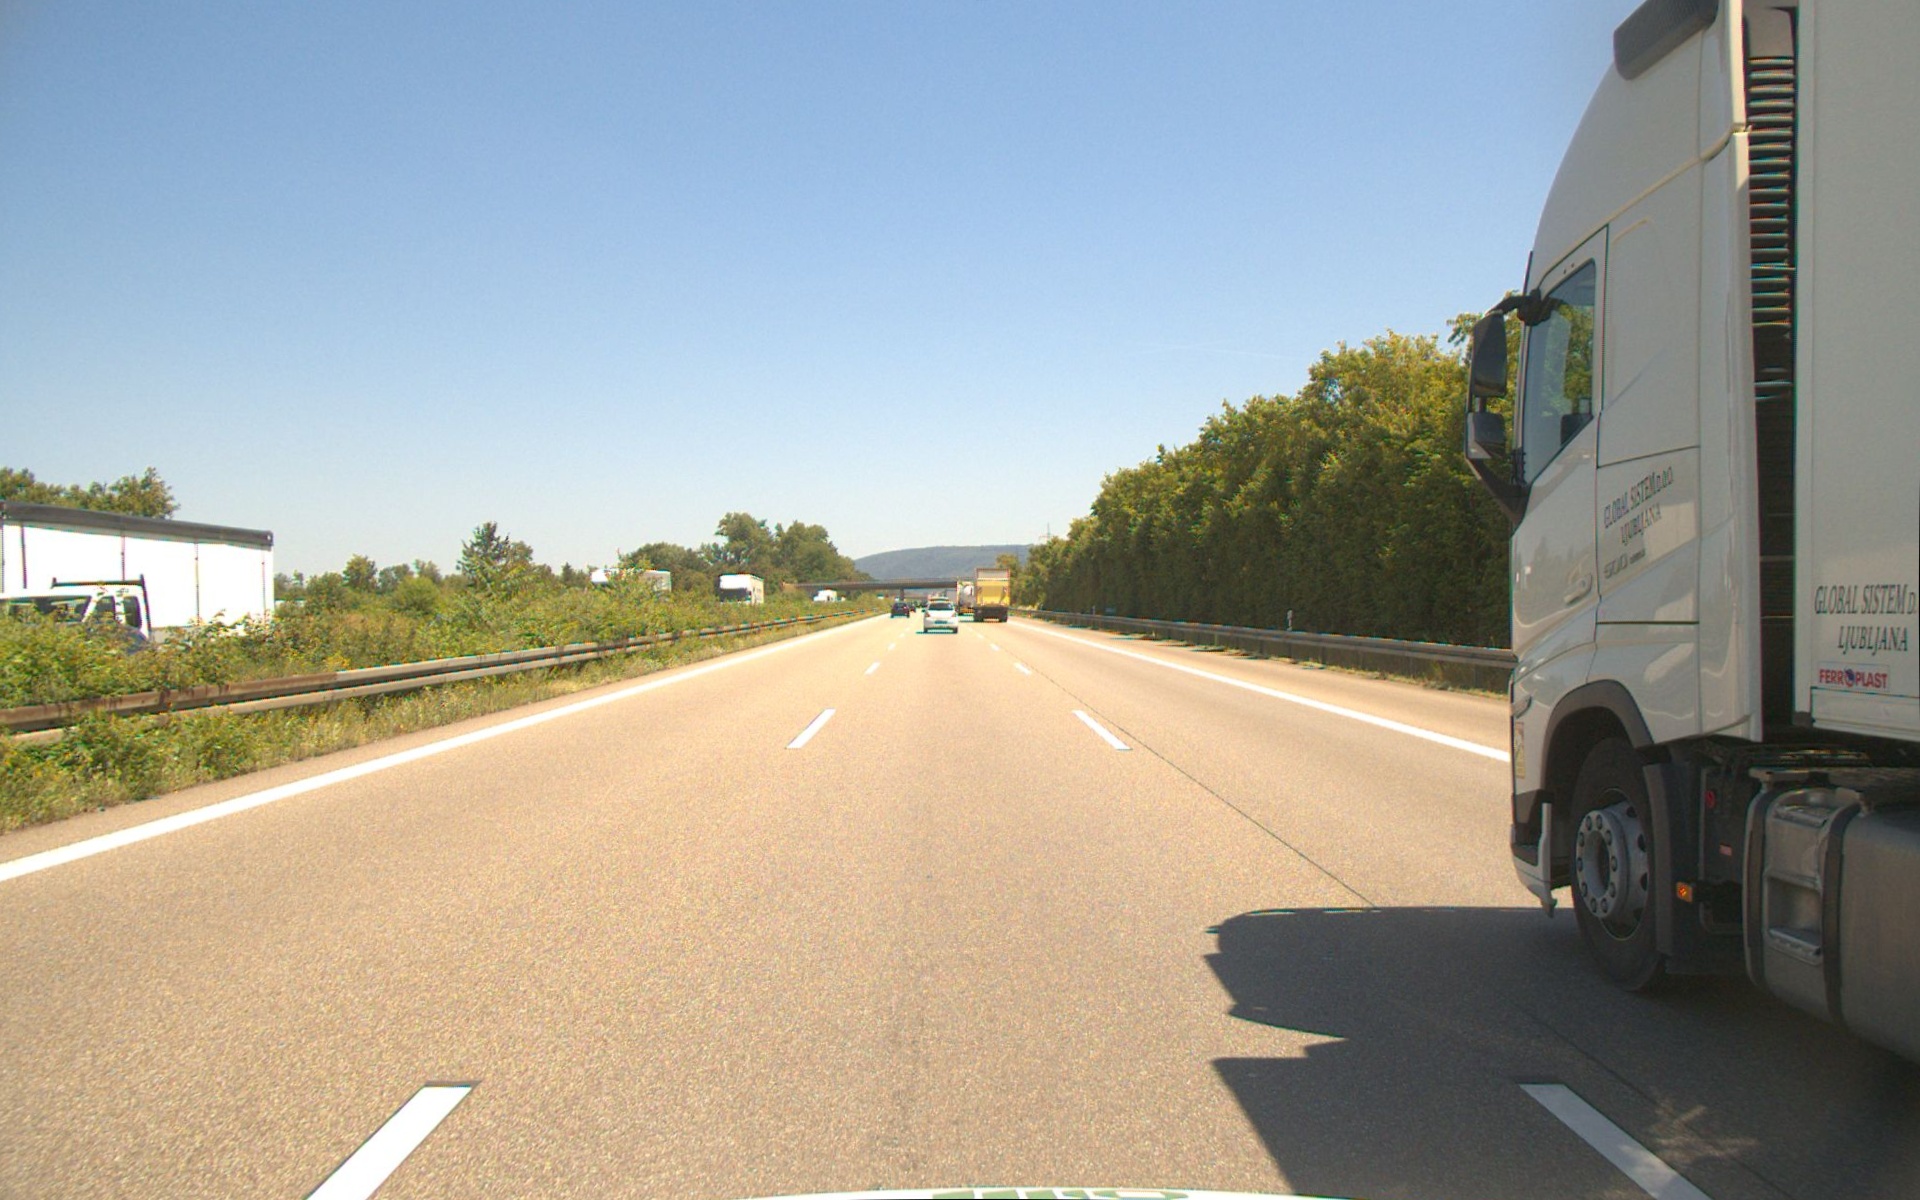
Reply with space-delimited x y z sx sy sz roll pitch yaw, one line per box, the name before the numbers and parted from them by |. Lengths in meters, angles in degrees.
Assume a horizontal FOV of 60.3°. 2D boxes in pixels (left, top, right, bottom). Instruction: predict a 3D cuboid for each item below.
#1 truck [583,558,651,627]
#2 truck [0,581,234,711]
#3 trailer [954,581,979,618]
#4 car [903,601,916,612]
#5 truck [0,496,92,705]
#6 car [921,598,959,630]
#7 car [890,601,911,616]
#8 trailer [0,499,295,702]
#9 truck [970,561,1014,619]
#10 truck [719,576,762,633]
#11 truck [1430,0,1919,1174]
truck | -21.342 -0.430 103.313 2.892 4.134 6.537 1 0 -1
truck | -16.264 0.781 31.269 2.202 2.191 6.571 1 0 -1
trailer | 0.695 -0.039 188.682 2.528 4.146 11.099 1 0 -1
car | -7.039 0.929 230.634 1.798 1.411 3.999 1 0 -1
truck | -20.495 -0.003 33.202 2.996 4.129 5.917 1 0 -1
car | -0.959 0.688 80.213 1.770 1.494 3.999 1 0 -1
car | -5.549 0.806 154.987 1.798 1.411 3.999 1 0 -1
trailer | -20.606 0.026 40.664 2.996 4.129 13.953 1 0 -1
truck | 2.419 -0.751 128.318 2.874 4.273 10.678 1 0 -1
truck | -18.338 0.360 138.475 2.764 4.606 6.537 1 0 -1
truck | 3.717 -0.550 5.422 2.420 4.133 6.318 1 0 -1
